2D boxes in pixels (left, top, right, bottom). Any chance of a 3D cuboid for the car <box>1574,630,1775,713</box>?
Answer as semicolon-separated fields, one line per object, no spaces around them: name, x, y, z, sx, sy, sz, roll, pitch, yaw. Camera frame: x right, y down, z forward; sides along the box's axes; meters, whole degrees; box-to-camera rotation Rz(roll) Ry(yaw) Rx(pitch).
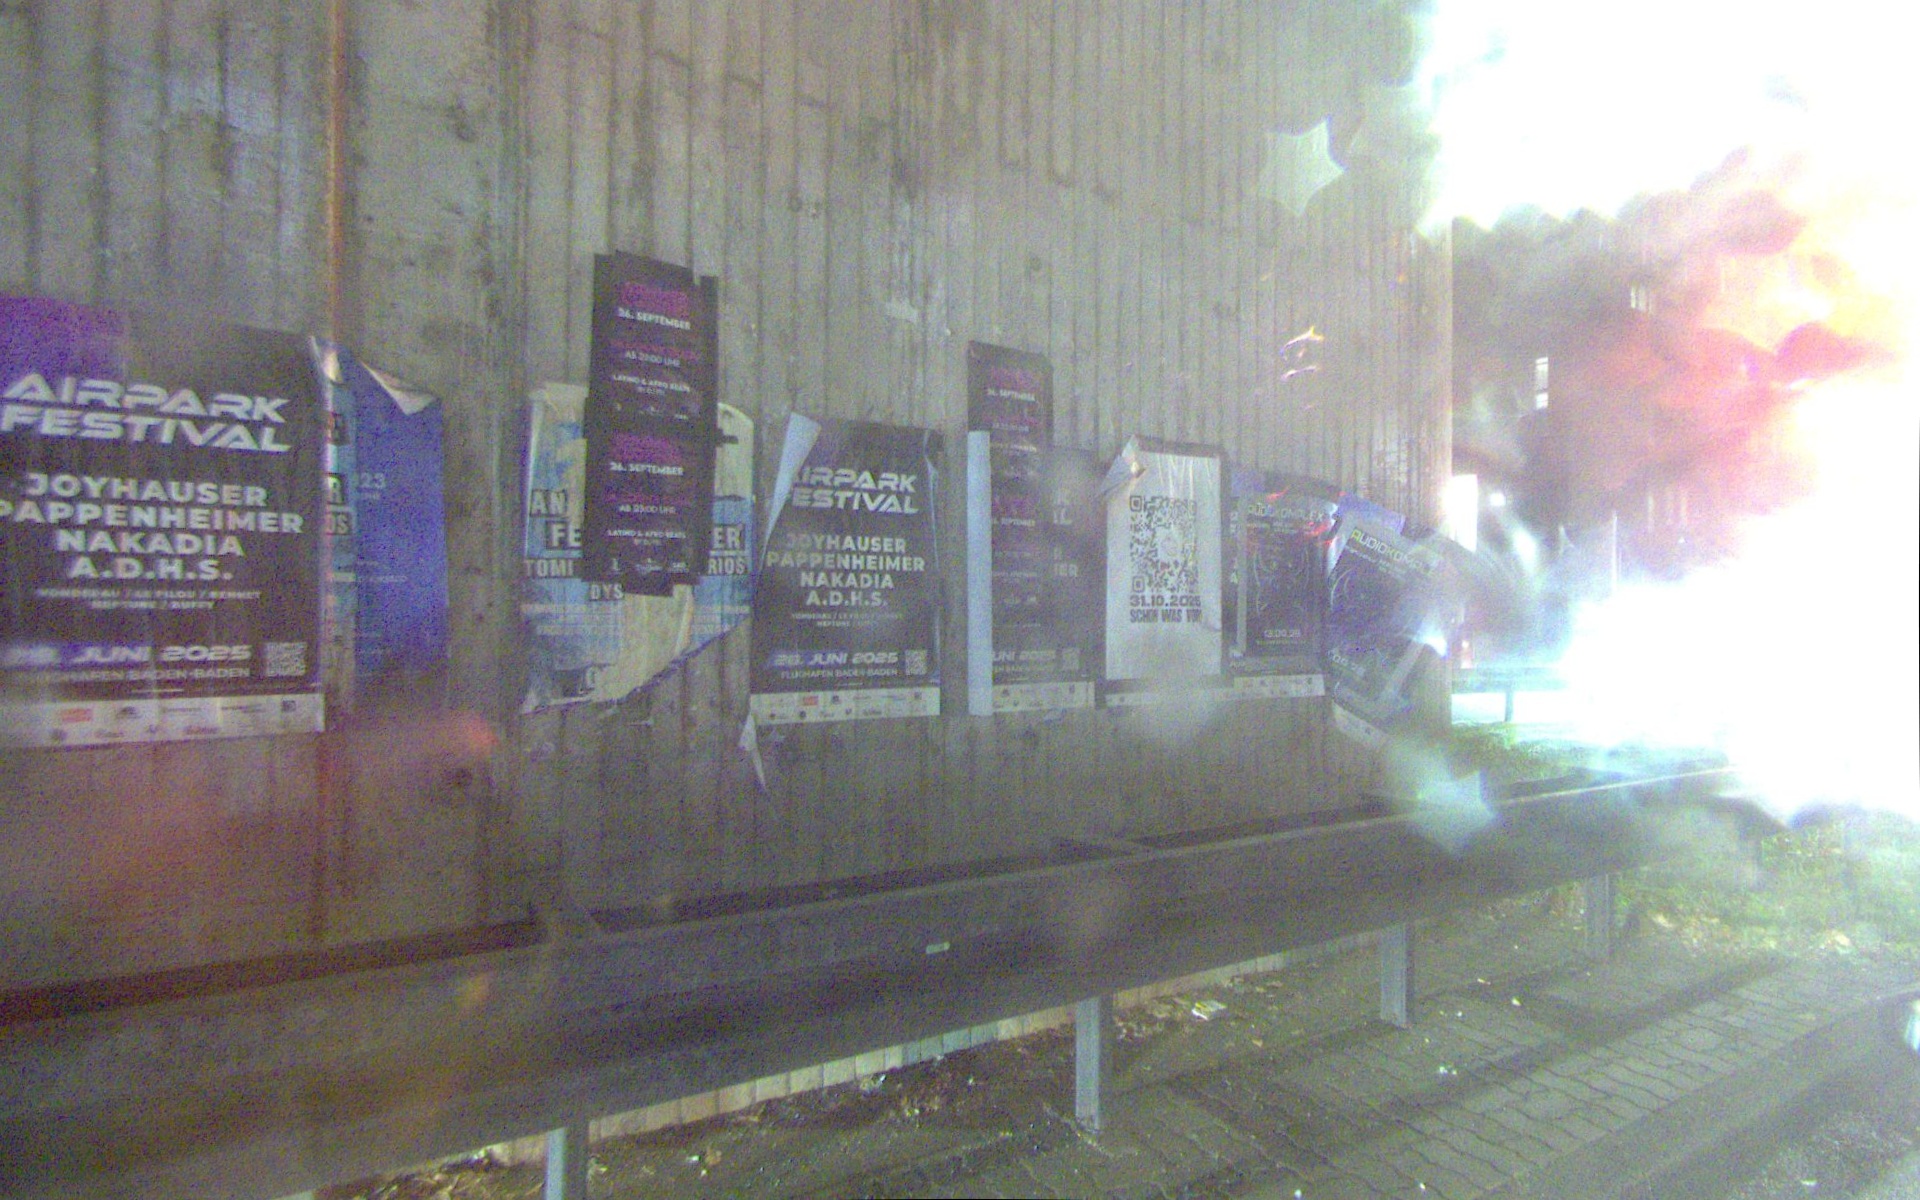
car;15.356;1.481;21.540;4.382;1.572;1.876;2;-1;-30

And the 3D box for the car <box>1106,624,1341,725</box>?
car;4.719;1.271;17.892;3.953;1.585;1.792;2;-1;-30

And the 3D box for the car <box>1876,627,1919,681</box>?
car;30.518;1.684;31.293;4.280;1.590;1.762;2;-2;-30
